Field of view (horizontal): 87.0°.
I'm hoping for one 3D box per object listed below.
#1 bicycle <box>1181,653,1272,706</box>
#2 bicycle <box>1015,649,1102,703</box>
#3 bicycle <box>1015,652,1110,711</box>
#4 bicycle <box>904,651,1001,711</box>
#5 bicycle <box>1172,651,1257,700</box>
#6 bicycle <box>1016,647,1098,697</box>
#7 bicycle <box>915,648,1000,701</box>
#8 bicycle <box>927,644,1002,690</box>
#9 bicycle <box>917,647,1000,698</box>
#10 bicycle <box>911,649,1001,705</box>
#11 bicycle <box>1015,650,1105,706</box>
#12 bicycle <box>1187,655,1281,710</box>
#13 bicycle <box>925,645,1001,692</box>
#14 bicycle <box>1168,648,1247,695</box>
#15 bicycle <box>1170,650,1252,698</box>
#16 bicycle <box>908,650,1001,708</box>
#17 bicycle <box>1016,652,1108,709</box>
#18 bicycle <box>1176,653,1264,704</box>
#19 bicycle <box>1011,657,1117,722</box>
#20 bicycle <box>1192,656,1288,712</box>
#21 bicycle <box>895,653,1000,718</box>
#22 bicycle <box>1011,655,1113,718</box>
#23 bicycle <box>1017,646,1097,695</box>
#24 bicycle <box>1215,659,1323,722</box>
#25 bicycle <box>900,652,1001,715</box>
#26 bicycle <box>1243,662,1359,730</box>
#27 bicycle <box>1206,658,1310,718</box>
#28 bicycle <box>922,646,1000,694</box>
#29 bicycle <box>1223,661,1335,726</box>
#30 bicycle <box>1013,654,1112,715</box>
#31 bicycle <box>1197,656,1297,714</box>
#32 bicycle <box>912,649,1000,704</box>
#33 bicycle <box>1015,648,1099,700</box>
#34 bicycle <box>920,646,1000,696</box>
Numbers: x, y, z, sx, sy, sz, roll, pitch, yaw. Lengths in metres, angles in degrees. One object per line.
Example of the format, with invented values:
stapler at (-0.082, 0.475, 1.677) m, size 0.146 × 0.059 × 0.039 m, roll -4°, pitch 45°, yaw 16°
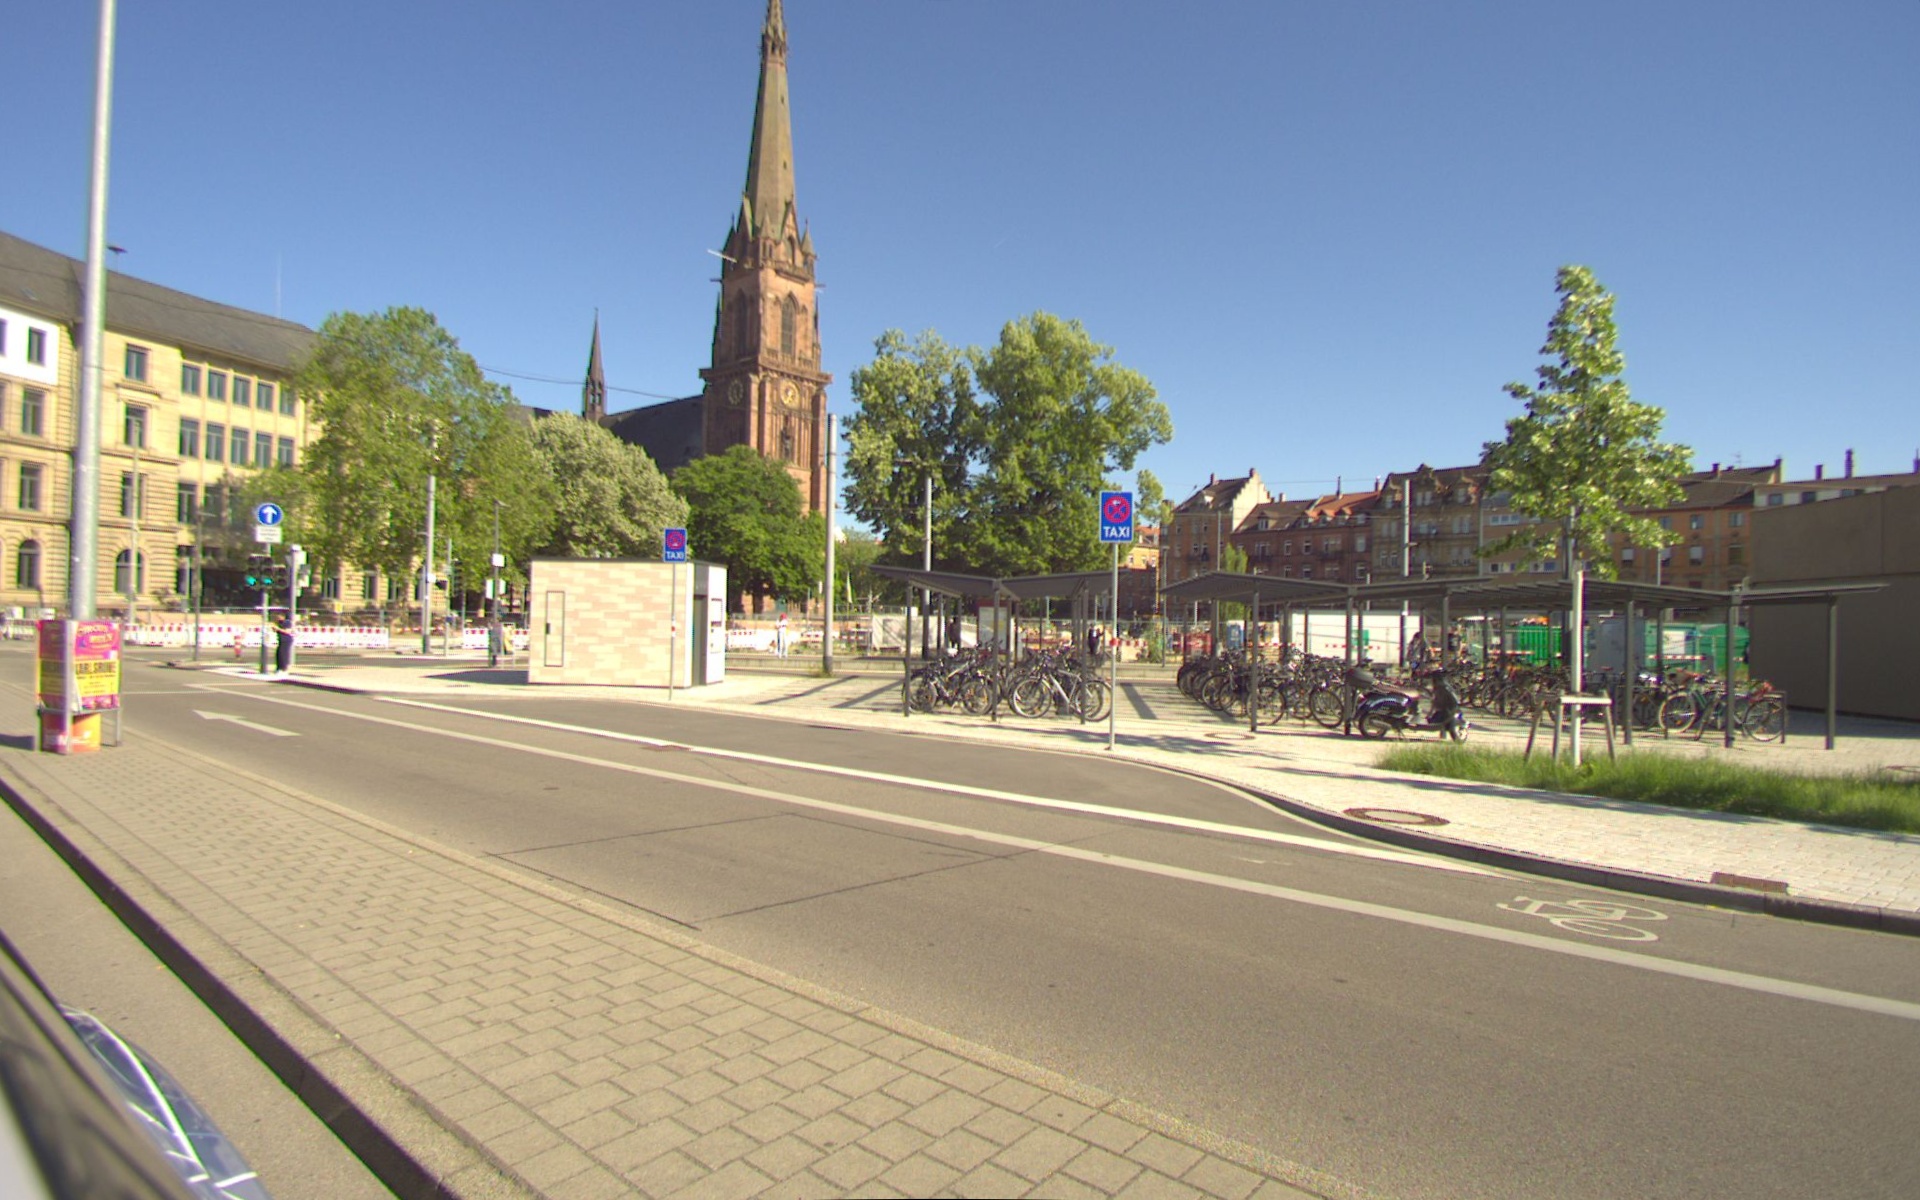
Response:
bicycle at (5.652, 1.687, 21.527) m, size 1.765 × 1.046 × 0.567 m, roll 2°, pitch -3°, yaw 4°
bicycle at (2.049, 1.586, 21.211) m, size 1.765 × 1.046 × 0.567 m, roll 2°, pitch -3°, yaw 4°
bicycle at (1.949, 1.561, 19.396) m, size 1.765 × 1.046 × 0.567 m, roll 2°, pitch -3°, yaw 4°
bicycle at (-0.128, 1.516, 19.064) m, size 1.765 × 1.046 × 0.567 m, roll 2°, pitch -3°, yaw 4°
bicycle at (5.765, 1.710, 22.992) m, size 1.765 × 1.046 × 0.567 m, roll 2°, pitch -3°, yaw 4°
bicycle at (2.141, 1.585, 22.450) m, size 1.765 × 1.046 × 0.567 m, roll 2°, pitch -3°, yaw 4°
bicycle at (-0.038, 1.586, 21.615) m, size 1.765 × 1.046 × 0.567 m, roll 2°, pitch -3°, yaw 4°
bicycle at (0.113, 1.629, 24.672) m, size 1.765 × 1.046 × 0.567 m, roll 2°, pitch -3°, yaw 4°
bicycle at (-0.017, 1.597, 22.281) m, size 1.765 × 1.046 × 0.567 m, roll 2°, pitch -3°, yaw 4°
bicycle at (-0.072, 1.546, 20.383) m, size 1.765 × 1.046 × 0.567 m, roll 2°, pitch -3°, yaw 4°
bicycle at (2.017, 1.575, 20.611) m, size 1.765 × 1.046 × 0.567 m, roll 2°, pitch -3°, yaw 4°
bicycle at (5.645, 1.690, 20.928) m, size 1.765 × 1.046 × 0.567 m, roll 2°, pitch -3°, yaw 4°
bicycle at (0.084, 1.620, 24.070) m, size 1.765 × 1.046 × 0.567 m, roll 2°, pitch -3°, yaw 4°
bicycle at (5.974, 1.720, 24.481) m, size 1.765 × 1.046 × 0.567 m, roll 2°, pitch -3°, yaw 4°
bicycle at (5.875, 1.724, 23.715) m, size 1.765 × 1.046 × 0.567 m, roll 2°, pitch -3°, yaw 4°
bicycle at (-0.091, 1.526, 19.751) m, size 1.765 × 1.046 × 0.567 m, roll 2°, pitch -3°, yaw 4°
bicycle at (1.998, 1.577, 19.995) m, size 1.765 × 1.046 × 0.567 m, roll 2°, pitch -3°, yaw 4°
bicycle at (5.671, 1.708, 22.122) m, size 1.765 × 1.046 × 0.567 m, roll 2°, pitch -3°, yaw 4°
bicycle at (1.788, 1.535, 17.496) m, size 1.765 × 1.046 × 0.567 m, roll 2°, pitch -3°, yaw 4°
bicycle at (5.606, 1.675, 20.313) m, size 1.765 × 1.046 × 0.567 m, roll 2°, pitch -3°, yaw 4°
bicycle at (-0.201, 1.486, 17.658) m, size 1.765 × 1.046 × 0.567 m, roll 2°, pitch -3°, yaw 4°
bicycle at (1.817, 1.536, 18.146) m, size 1.765 × 1.046 × 0.567 m, roll 2°, pitch -3°, yaw 4°
bicycle at (2.196, 1.602, 23.111) m, size 1.765 × 1.046 × 0.567 m, roll 2°, pitch -3°, yaw 4°
bicycle at (5.584, 1.631, 18.352) m, size 1.765 × 1.046 × 0.567 m, roll 2°, pitch -3°, yaw 4°
bicycle at (-0.164, 1.498, 18.309) m, size 1.765 × 1.046 × 0.567 m, roll 2°, pitch -3°, yaw 4°
bicycle at (5.769, 1.618, 17.169) m, size 1.765 × 1.046 × 0.567 m, roll 2°, pitch -3°, yaw 4°
bicycle at (5.587, 1.645, 19.010) m, size 1.765 × 1.046 × 0.567 m, roll 2°, pitch -3°, yaw 4°
bicycle at (0.038, 1.612, 23.478) m, size 1.765 × 1.046 × 0.567 m, roll 2°, pitch -3°, yaw 4°
bicycle at (5.584, 1.634, 17.766) m, size 1.765 × 1.046 × 0.567 m, roll 2°, pitch -3°, yaw 4°
bicycle at (1.885, 1.550, 18.787) m, size 1.765 × 1.046 × 0.567 m, roll 2°, pitch -3°, yaw 4°
bicycle at (5.554, 1.640, 19.641) m, size 1.765 × 1.046 × 0.567 m, roll 2°, pitch -3°, yaw 4°
bicycle at (-0.066, 1.575, 20.999) m, size 1.765 × 1.046 × 0.567 m, roll 2°, pitch -3°, yaw 4°
bicycle at (2.078, 1.588, 21.851) m, size 1.765 × 1.046 × 0.567 m, roll 2°, pitch -3°, yaw 4°
bicycle at (0.006, 1.603, 22.876) m, size 1.765 × 1.046 × 0.567 m, roll 2°, pitch -3°, yaw 4°
